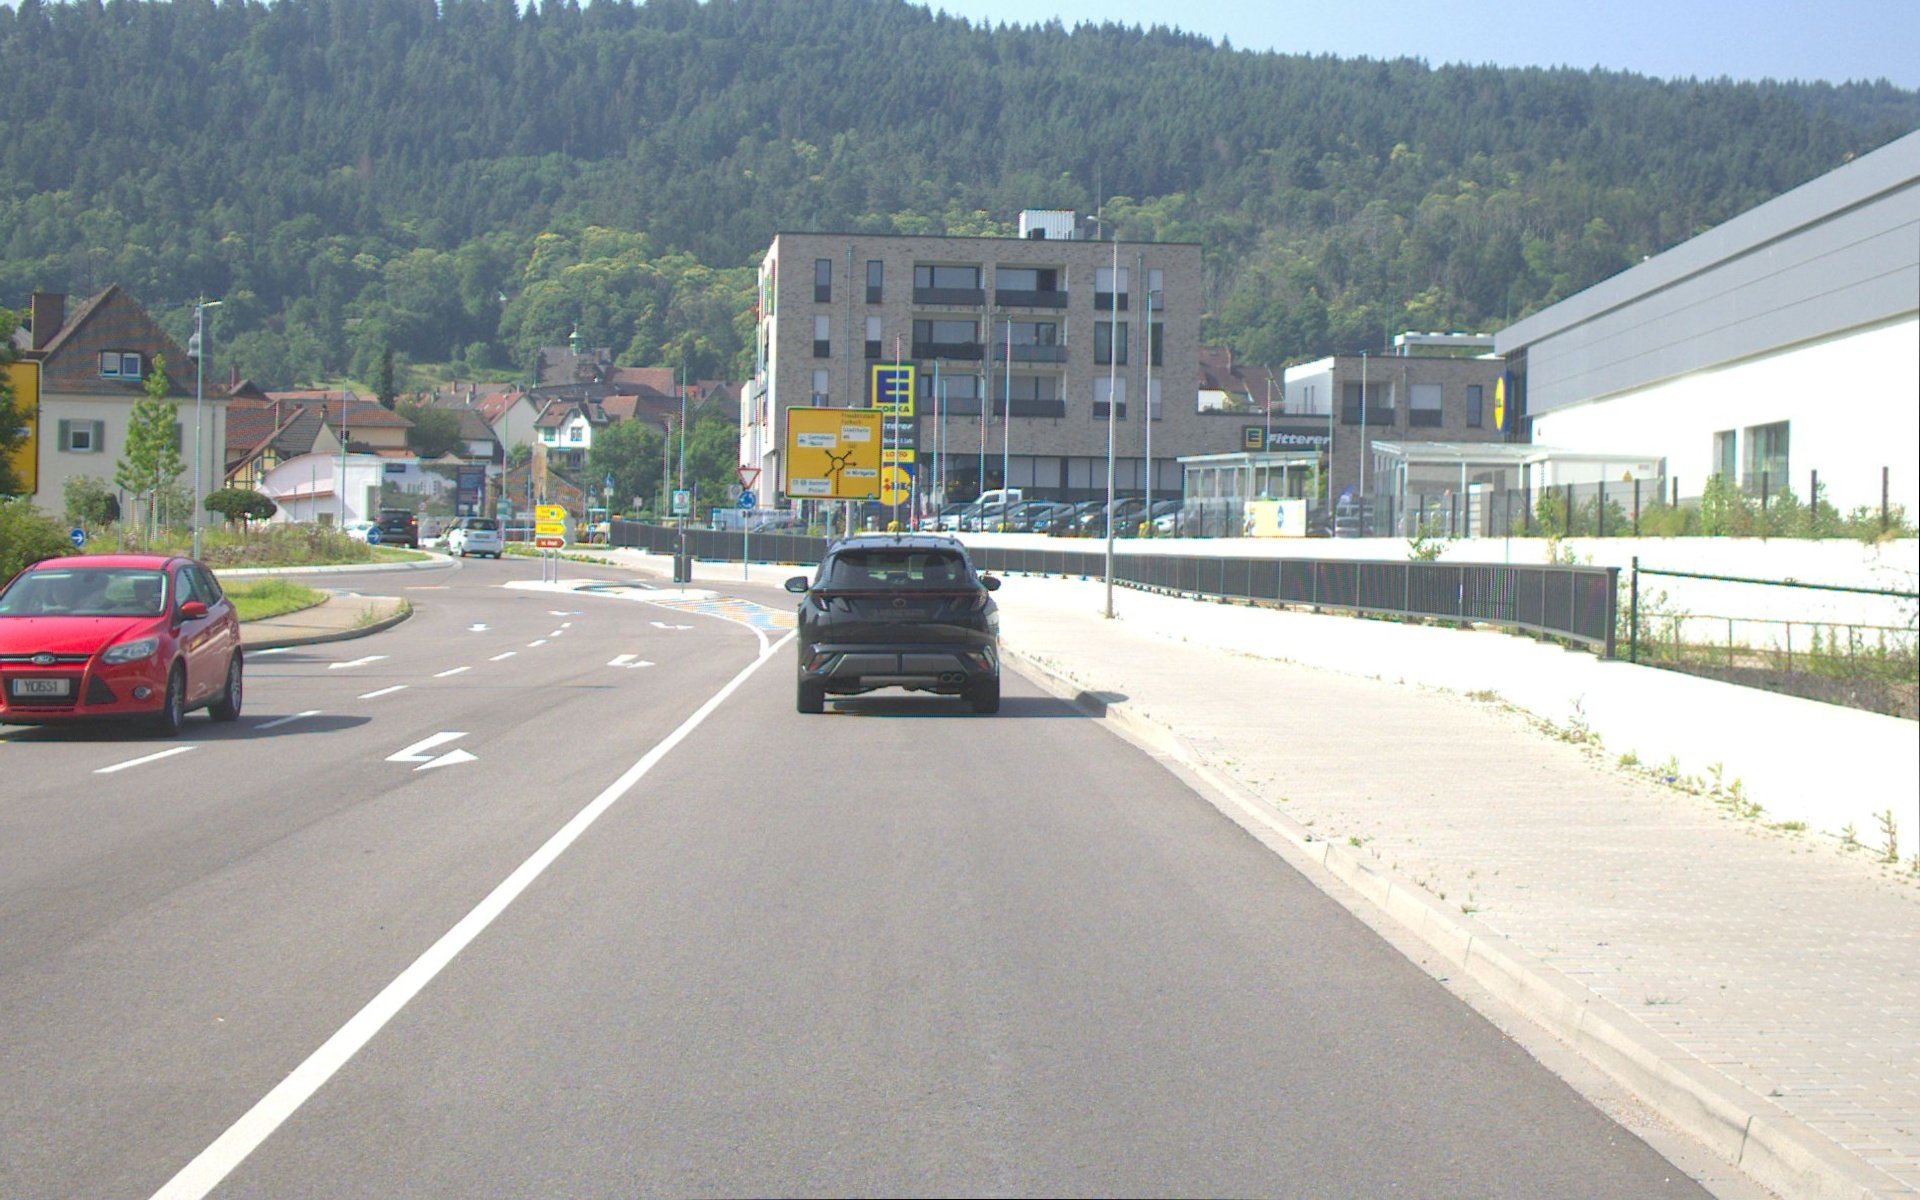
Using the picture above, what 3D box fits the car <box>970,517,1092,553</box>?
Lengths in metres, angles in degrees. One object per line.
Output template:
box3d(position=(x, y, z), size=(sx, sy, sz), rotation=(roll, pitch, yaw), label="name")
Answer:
box3d(position=(2.689, -2.461, 130.683), size=(4.277, 1.241, 1.665), rotation=(1, 1, -20), label="car")

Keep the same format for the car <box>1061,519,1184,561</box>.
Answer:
box3d(position=(5.769, -2.123, 122.068), size=(4.004, 1.399, 1.726), rotation=(1, 1, -20), label="car")

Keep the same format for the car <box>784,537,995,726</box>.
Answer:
box3d(position=(-0.620, 0.268, 32.712), size=(1.881, 1.678, 4.000), rotation=(0, 0, 0), label="car")

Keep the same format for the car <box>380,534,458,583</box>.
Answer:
box3d(position=(-22.658, -1.725, 144.018), size=(1.994, 2.007, 3.998), rotation=(0, 0, 11), label="car")

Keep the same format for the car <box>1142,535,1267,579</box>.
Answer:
box3d(position=(8.203, -1.437, 115.319), size=(3.804, 1.359, 1.681), rotation=(1, 1, -20), label="car")

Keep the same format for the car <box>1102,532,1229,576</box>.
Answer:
box3d(position=(7.081, -1.592, 118.348), size=(4.060, 1.399, 1.486), rotation=(1, 1, -20), label="car")

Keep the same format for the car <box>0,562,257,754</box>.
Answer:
box3d(position=(-7.259, 0.438, 29.047), size=(1.837, 1.487, 4.432), rotation=(0, 0, -2), label="car")

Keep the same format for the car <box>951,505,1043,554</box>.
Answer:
box3d(position=(1.655, -3.096, 151.909), size=(3.987, 2.128, 2.000), rotation=(0, 0, 2), label="car")

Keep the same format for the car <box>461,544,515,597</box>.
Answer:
box3d(position=(-18.047, -1.123, 131.687), size=(1.993, 2.007, 4.001), rotation=(0, 0, -7), label="car")
